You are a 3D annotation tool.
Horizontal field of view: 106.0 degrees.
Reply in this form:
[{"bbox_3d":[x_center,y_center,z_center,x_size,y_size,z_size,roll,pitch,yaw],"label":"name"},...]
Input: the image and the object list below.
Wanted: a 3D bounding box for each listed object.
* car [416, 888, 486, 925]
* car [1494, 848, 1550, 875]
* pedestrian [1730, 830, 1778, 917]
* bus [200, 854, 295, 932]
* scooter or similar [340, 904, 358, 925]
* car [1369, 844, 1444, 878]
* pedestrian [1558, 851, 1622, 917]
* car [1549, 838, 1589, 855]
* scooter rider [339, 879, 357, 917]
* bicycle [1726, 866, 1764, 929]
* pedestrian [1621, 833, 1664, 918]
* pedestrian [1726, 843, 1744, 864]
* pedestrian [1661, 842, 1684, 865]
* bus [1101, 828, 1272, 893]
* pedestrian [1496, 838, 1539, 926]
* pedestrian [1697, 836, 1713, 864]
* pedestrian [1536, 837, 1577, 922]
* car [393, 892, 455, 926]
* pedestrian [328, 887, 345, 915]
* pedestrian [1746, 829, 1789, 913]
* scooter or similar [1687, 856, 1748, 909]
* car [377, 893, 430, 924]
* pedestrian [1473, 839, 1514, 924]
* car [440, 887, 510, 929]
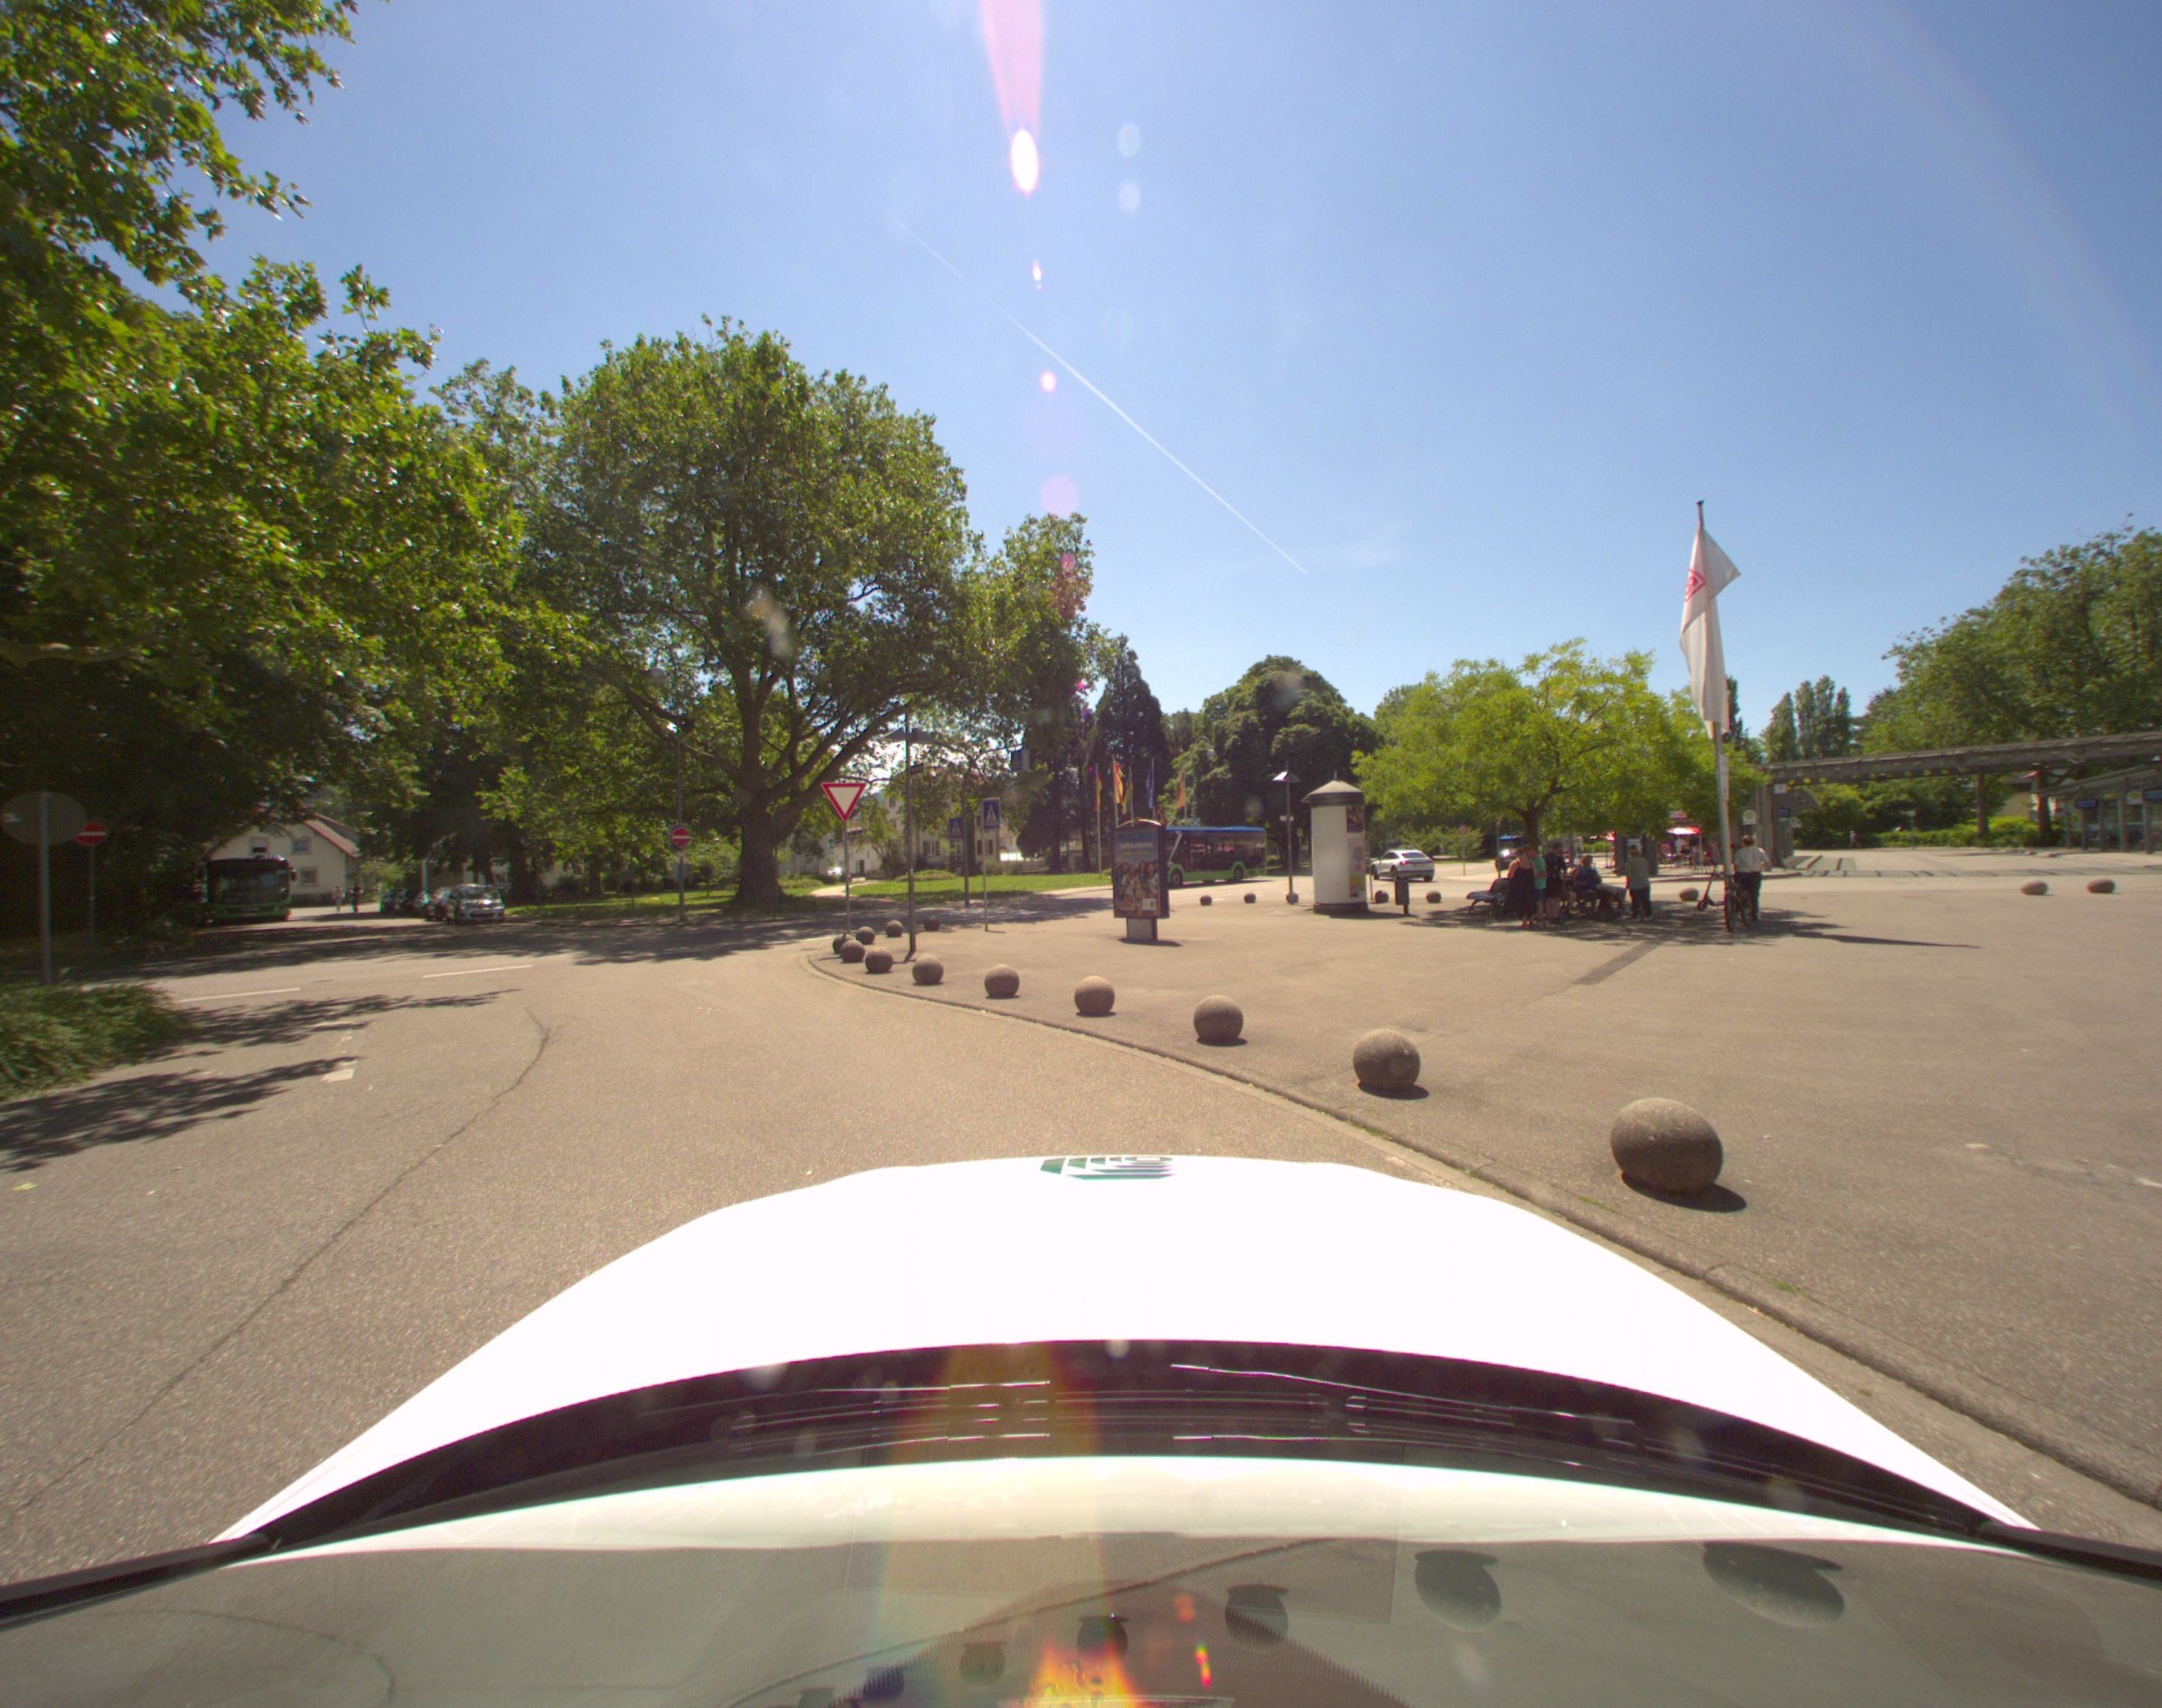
[{"bbox_3d":[-27.041,2.217,34.907,4.446,1.439,1.766,-3,-2,44],"label":"car"},{"bbox_3d":[28.157,0.462,51.886,1.908,1.460,4.754,-6,-4,43],"label":"car"},{"bbox_3d":[13.405,0.392,16.237,0.611,1.685,0.595,-3,-1,32],"label":"pedestrian"},{"bbox_3d":[-42.430,1.968,41.480,15.750,3.295,2.895,-3,-1,44],"label":"bus"},{"bbox_3d":[-45.722,3.757,50.835,0.745,1.183,1.500,-2,-1,-44],"label":"scooter or similar"},{"bbox_3d":[17.022,0.387,42.881,1.976,1.627,4.777,-2,-1,0],"label":"car"},{"bbox_3d":[11.153,0.643,17.890,0.903,1.386,0.948,-2,-1,14],"label":"pedestrian"},{"bbox_3d":[66.283,-0.951,110.692,2.199,2.173,4.874,-2,-1,-4],"label":"car"},{"bbox_3d":[-45.763,2.766,50.859,0.745,2.318,0.915,-2,-1,-44],"label":"scooter rider"},{"bbox_3d":[12.219,0.773,14.974,0.416,1.060,1.961,-3,-1,42],"label":"bicycle"},{"bbox_3d":[11.756,0.446,17.068,0.507,1.740,0.573,-2,-1,15],"label":"pedestrian"},{"bbox_3d":[37.787,-0.031,47.075,0.752,1.205,0.741,0,0,44],"label":"pedestrian"},{"bbox_3d":[35.900,-0.031,49.451,0.886,1.312,0.690,-2,-1,9],"label":"pedestrian"},{"bbox_3d":[6.429,0.230,46.624,2.782,3.283,12.500,-3,-1,43],"label":"bus"},{"bbox_3d":[8.862,0.567,16.553,0.620,1.740,0.550,-2,-1,18],"label":"pedestrian"},{"bbox_3d":[39.109,-0.264,51.035,0.680,1.738,0.711,-3,-1,44],"label":"pedestrian"},{"bbox_3d":[10.028,0.536,17.202,0.578,1.740,0.603,-2,-1,18],"label":"pedestrian"},{"bbox_3d":[-31.734,2.617,39.297,4.710,1.439,1.766,-3,-1,44],"label":"car"},{"bbox_3d":[-47.960,3.016,52.465,0.726,1.802,0.930,-1,-1,-40],"label":"pedestrian"},{"bbox_3d":[14.119,0.344,16.762,0.548,1.685,0.591,-3,-1,32],"label":"pedestrian"},{"bbox_3d":[13.968,0.629,17.890,1.015,1.139,0.296,-3,-1,36],"label":"scooter or similar"},{"bbox_3d":[-36.442,2.907,43.782,3.868,1.493,1.770,-3,-1,44],"label":"car"},{"bbox_3d":[8.785,0.586,17.351,0.685,1.764,0.588,-2,-1,24],"label":"pedestrian"},{"bbox_3d":[-23.227,2.032,31.197,3.442,1.497,1.609,-3,-2,44],"label":"car"}]
